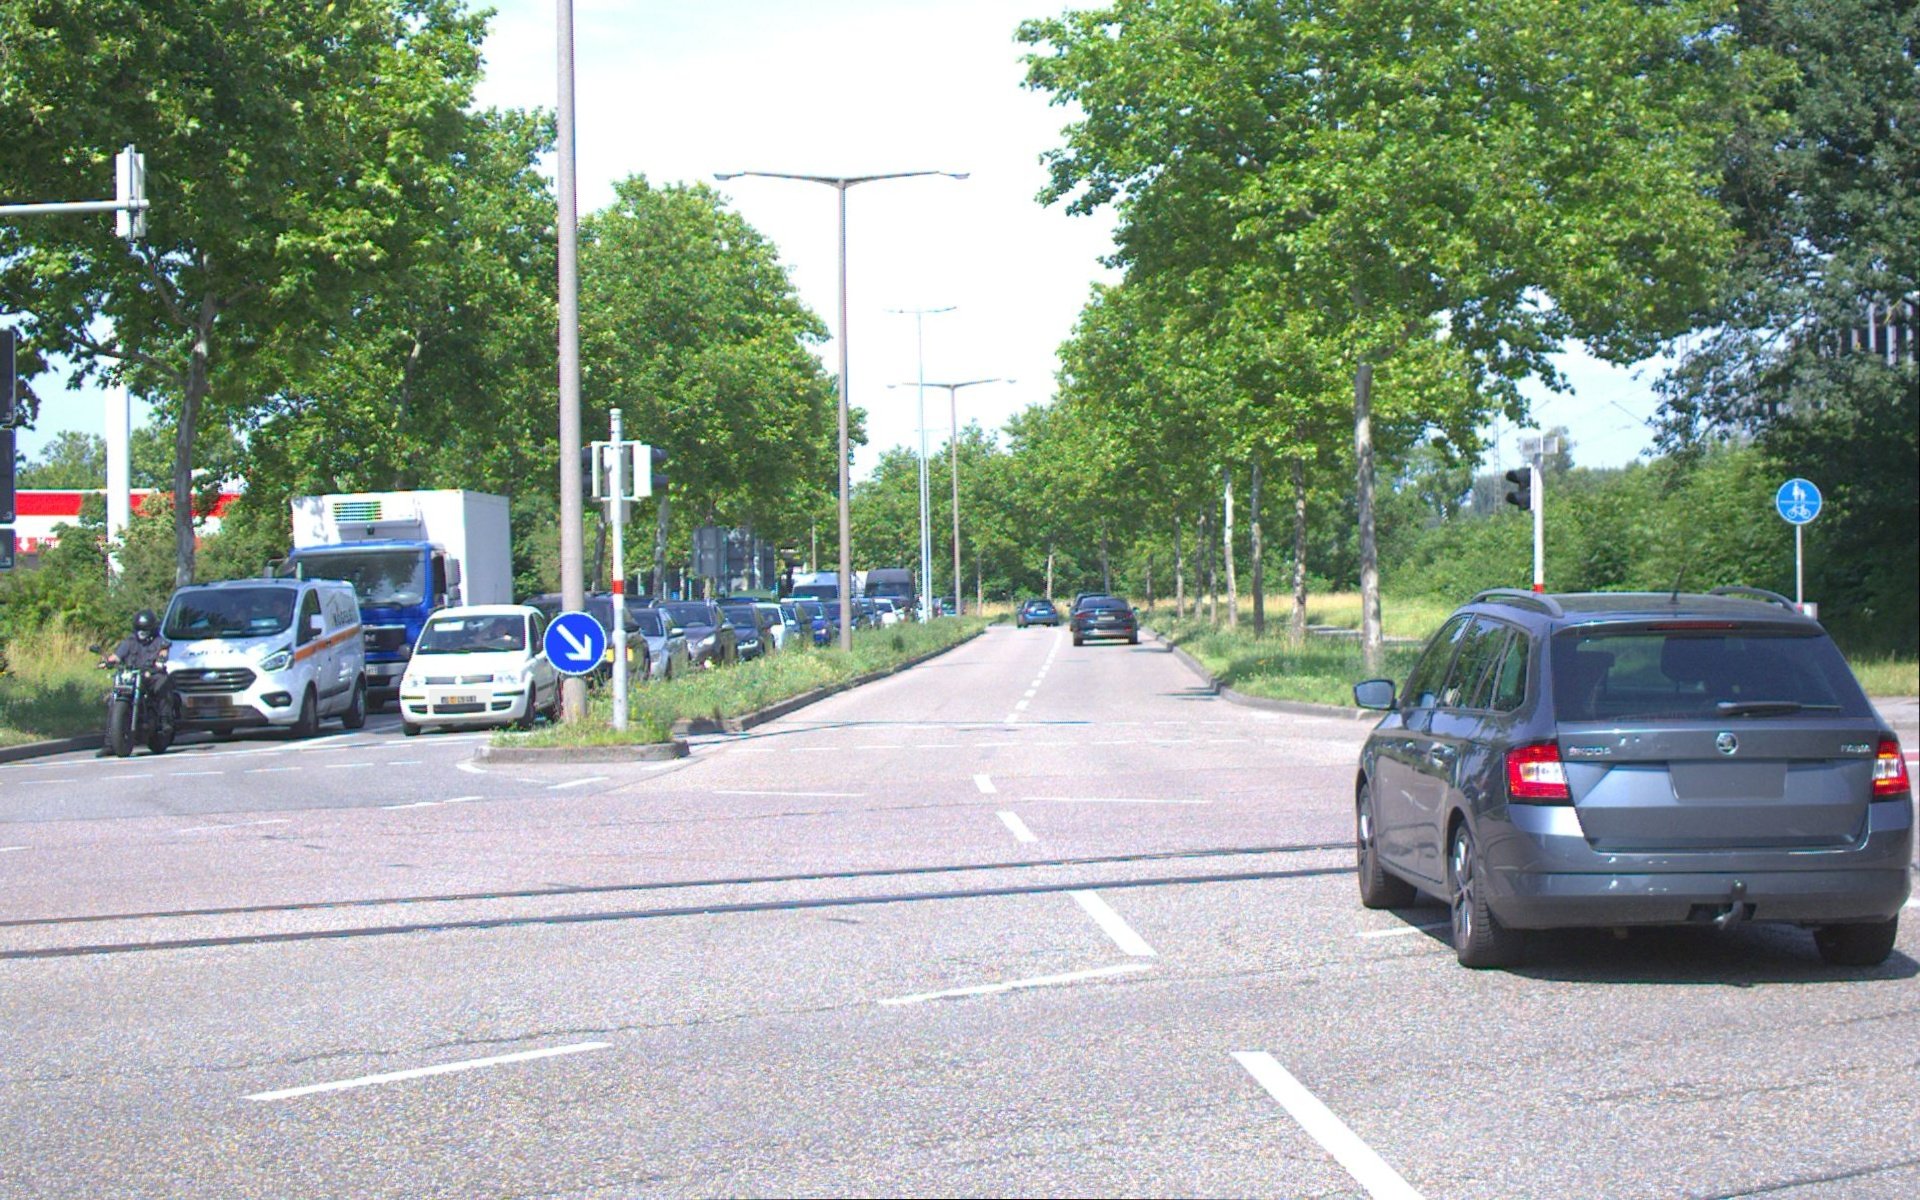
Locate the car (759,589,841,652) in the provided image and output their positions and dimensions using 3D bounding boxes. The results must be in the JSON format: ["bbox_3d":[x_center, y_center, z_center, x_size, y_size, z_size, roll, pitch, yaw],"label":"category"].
[{"bbox_3d":[-4.031,0.504,87.048,1.784,1.484,4.211,-2,0,1],"label":"car"}]

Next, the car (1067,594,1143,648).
[{"bbox_3d":[4.118,0.581,98.353,1.908,1.458,4.622,0,1,-1],"label":"car"}]

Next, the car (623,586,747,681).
[{"bbox_3d":[-4.869,0.566,61.369,1.689,1.581,4.240,-2,0,2],"label":"car"}]

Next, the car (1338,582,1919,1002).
[{"bbox_3d":[2.687,0.672,14.208,1.674,1.448,4.036,1,0,-2],"label":"car"}]

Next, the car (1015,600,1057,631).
[{"bbox_3d":[3.770,0.753,171.837,1.908,1.458,4.582,0,1,-1],"label":"car"}]

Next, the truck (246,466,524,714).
[{"bbox_3d":[-8.698,-0.185,52.790,2.804,3.459,6.691,-2,1,2],"label":"truck"}]

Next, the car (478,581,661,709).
[{"bbox_3d":[-5.381,0.620,47.930,1.820,1.641,4.693,-2,-1,2],"label":"car"}]

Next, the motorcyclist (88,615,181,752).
[{"bbox_3d":[-9.101,0.911,37.922,0.743,1.465,0.987,0,0,2],"label":"motorcyclist"}]

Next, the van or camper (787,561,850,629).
[{"bbox_3d":[-5.550,-0.203,135.601,2.015,2.579,5.516,-2,0,2],"label":"van or camper"}]

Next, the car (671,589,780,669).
[{"bbox_3d":[-4.650,0.553,68.726,1.689,1.468,4.218,-2,0,2],"label":"car"}]

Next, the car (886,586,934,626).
[{"bbox_3d":[-1.999,0.244,137.697,1.689,1.525,3.814,-2,0,2],"label":"car"}]

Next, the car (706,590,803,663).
[{"bbox_3d":[-4.421,0.556,74.358,1.689,1.467,3.814,-2,0,2],"label":"car"}]

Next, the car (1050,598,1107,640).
[{"bbox_3d":[4.461,0.711,130.411,1.908,1.458,4.582,0,1,-1],"label":"car"}]

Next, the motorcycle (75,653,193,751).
[{"bbox_3d":[-9.071,1.106,37.828,0.688,0.988,2.217,0,0,2],"label":"motorcycle"}]

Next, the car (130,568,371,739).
[{"bbox_3d":[-8.776,0.608,42.932,1.976,1.992,5.032,0,0,0],"label":"car"}]

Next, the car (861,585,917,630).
[{"bbox_3d":[-2.483,0.254,121.088,1.689,1.505,3.814,-2,0,2],"label":"car"}]

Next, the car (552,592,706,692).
[{"bbox_3d":[-5.221,0.639,54.800,1.797,1.463,4.522,-2,0,3],"label":"car"}]

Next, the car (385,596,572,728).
[{"bbox_3d":[-5.850,0.721,42.106,1.593,1.472,3.729,-2,0,2],"label":"car"}]
